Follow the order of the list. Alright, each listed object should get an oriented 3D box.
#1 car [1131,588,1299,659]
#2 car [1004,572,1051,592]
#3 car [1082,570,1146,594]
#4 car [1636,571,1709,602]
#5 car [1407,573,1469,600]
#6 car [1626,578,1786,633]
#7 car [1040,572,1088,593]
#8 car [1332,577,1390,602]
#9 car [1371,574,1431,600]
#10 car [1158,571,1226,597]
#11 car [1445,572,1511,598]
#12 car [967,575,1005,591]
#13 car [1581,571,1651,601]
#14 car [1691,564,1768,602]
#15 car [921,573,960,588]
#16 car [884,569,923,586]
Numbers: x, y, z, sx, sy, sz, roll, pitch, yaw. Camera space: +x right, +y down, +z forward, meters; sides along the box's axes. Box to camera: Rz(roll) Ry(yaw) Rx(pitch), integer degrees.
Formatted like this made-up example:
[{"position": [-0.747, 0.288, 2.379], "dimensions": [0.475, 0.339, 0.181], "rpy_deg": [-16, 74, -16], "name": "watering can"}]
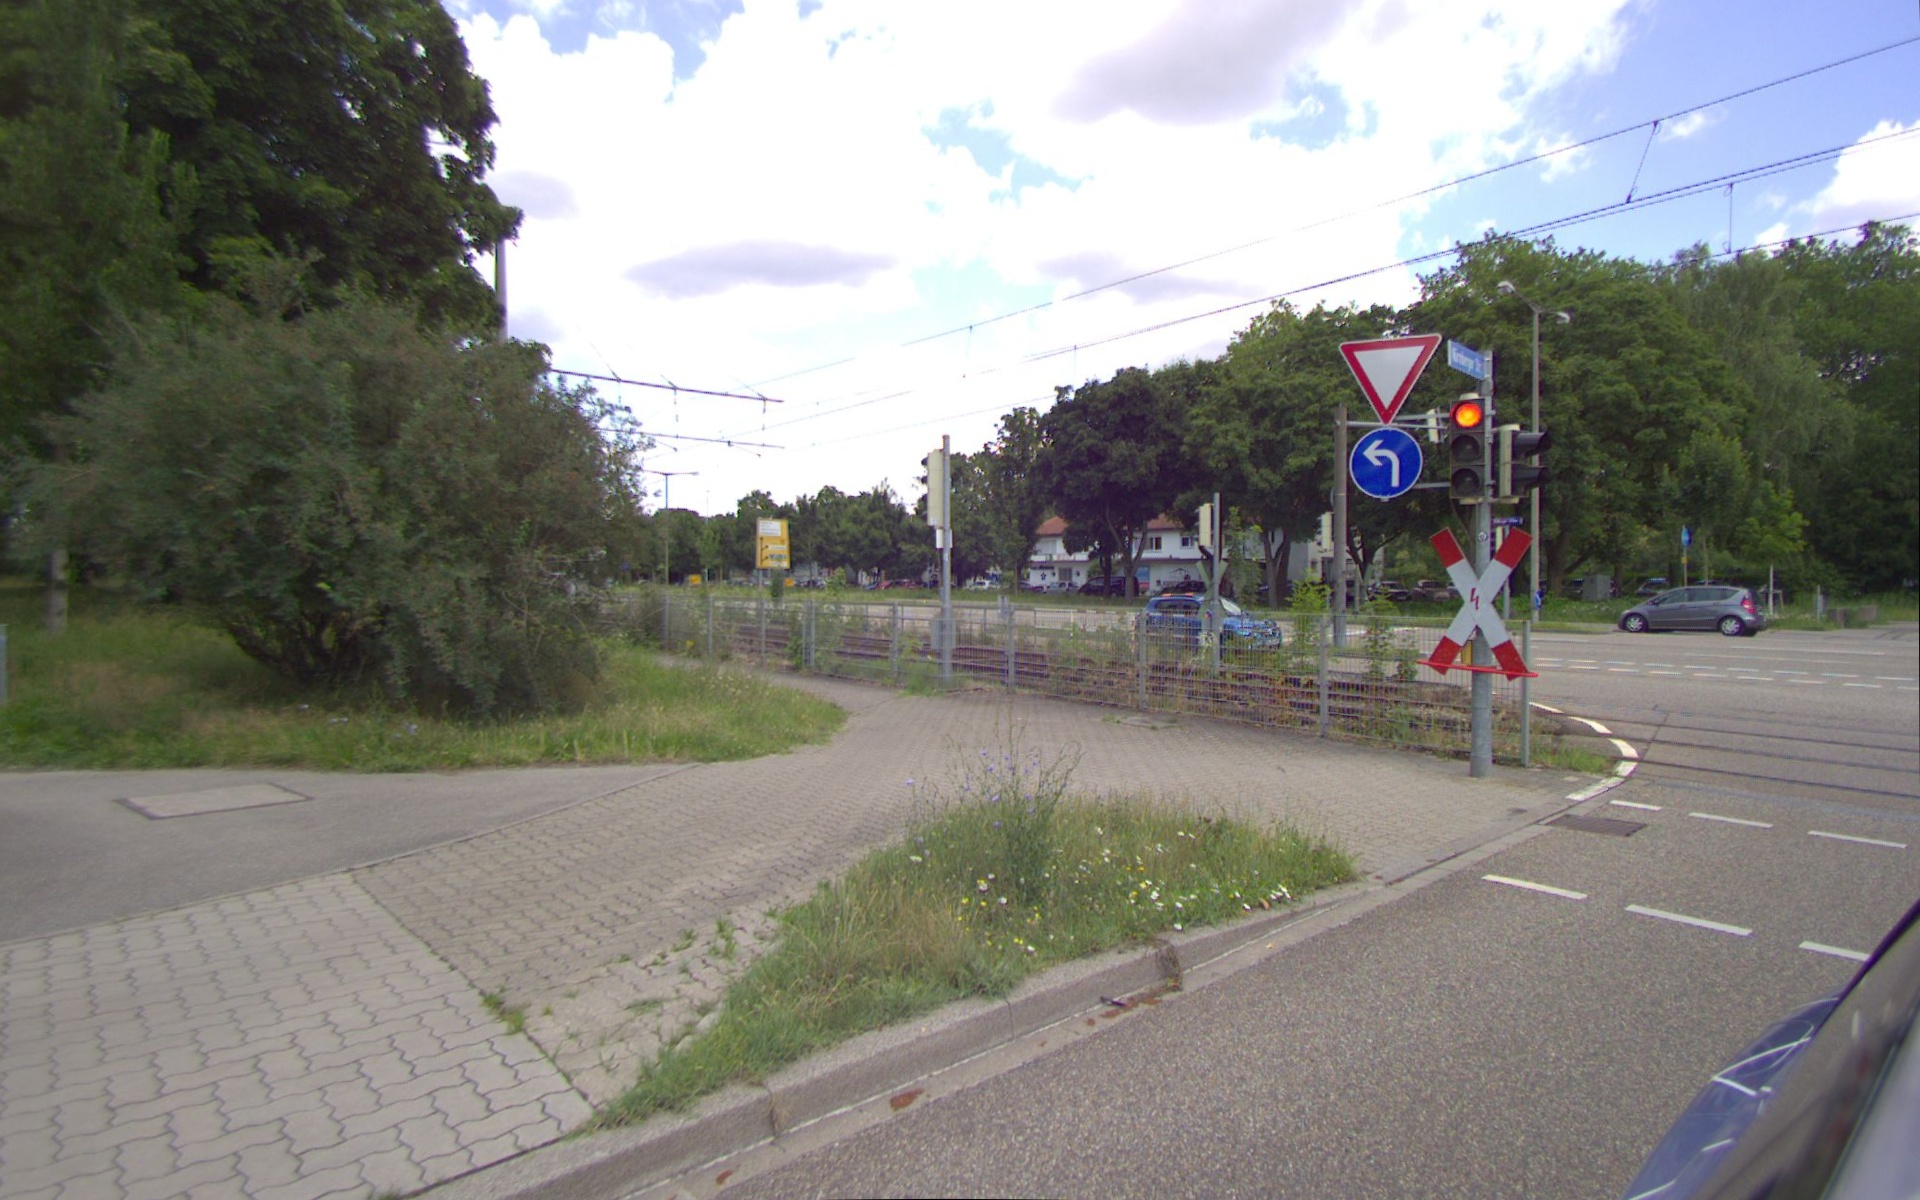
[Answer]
[{"position": [5.848, 0.491, 23.592], "dimensions": [1.574, 1.482, 3.704], "rpy_deg": [0, 1, -34], "name": "car"}, {"position": [5.629, -1.481, 84.380], "dimensions": [1.731, 1.607, 4.022], "rpy_deg": [-1, 1, -36], "name": "car"}, {"position": [11.514, -1.342, 76.144], "dimensions": [1.853, 1.732, 4.928], "rpy_deg": [-1, 1, -36], "name": "car"}, {"position": [41.190, -0.808, 58.476], "dimensions": [4.044, 1.731, 1.822], "rpy_deg": [-1, 1, -29], "name": "car"}, {"position": [29.870, -0.821, 63.377], "dimensions": [1.962, 1.608, 4.023], "rpy_deg": [0, 0, -1], "name": "car"}, {"position": [23.435, 0.122, 31.886], "dimensions": [1.760, 1.613, 3.768], "rpy_deg": [-1, 1, -39], "name": "car"}, {"position": [8.278, -1.413, 80.908], "dimensions": [1.887, 1.607, 3.665], "rpy_deg": [-1, 1, -36], "name": "car"}, {"position": [24.912, -0.669, 63.069], "dimensions": [1.962, 1.502, 4.024], "rpy_deg": [0, 1, -1], "name": "car"}, {"position": [27.490, -0.829, 63.200], "dimensions": [1.962, 1.607, 4.024], "rpy_deg": [0, 1, -1], "name": "car"}, {"position": [16.246, -1.143, 70.981], "dimensions": [4.349, 1.677, 1.785], "rpy_deg": [1, 3, 43], "name": "car"}, {"position": [32.327, -0.955, 63.264], "dimensions": [1.962, 1.564, 4.024], "rpy_deg": [0, 1, -1], "name": "car"}, {"position": [2.244, -1.511, 88.514], "dimensions": [1.596, 1.348, 3.476], "rpy_deg": [-1, 1, -36], "name": "car"}, {"position": [39.288, -0.865, 60.578], "dimensions": [4.044, 1.749, 1.822], "rpy_deg": [-1, 1, -29], "name": "car"}, {"position": [42.285, -0.958, 55.590], "dimensions": [3.920, 2.039, 2.002], "rpy_deg": [-1, 1, -30], "name": "car"}, {"position": [-1.811, -1.808, 93.844], "dimensions": [1.698, 1.429, 3.865], "rpy_deg": [-1, 1, -36], "name": "car"}, {"position": [-5.578, -2.224, 98.979], "dimensions": [1.963, 1.607, 4.022], "rpy_deg": [-1, 1, -36], "name": "car"}]
